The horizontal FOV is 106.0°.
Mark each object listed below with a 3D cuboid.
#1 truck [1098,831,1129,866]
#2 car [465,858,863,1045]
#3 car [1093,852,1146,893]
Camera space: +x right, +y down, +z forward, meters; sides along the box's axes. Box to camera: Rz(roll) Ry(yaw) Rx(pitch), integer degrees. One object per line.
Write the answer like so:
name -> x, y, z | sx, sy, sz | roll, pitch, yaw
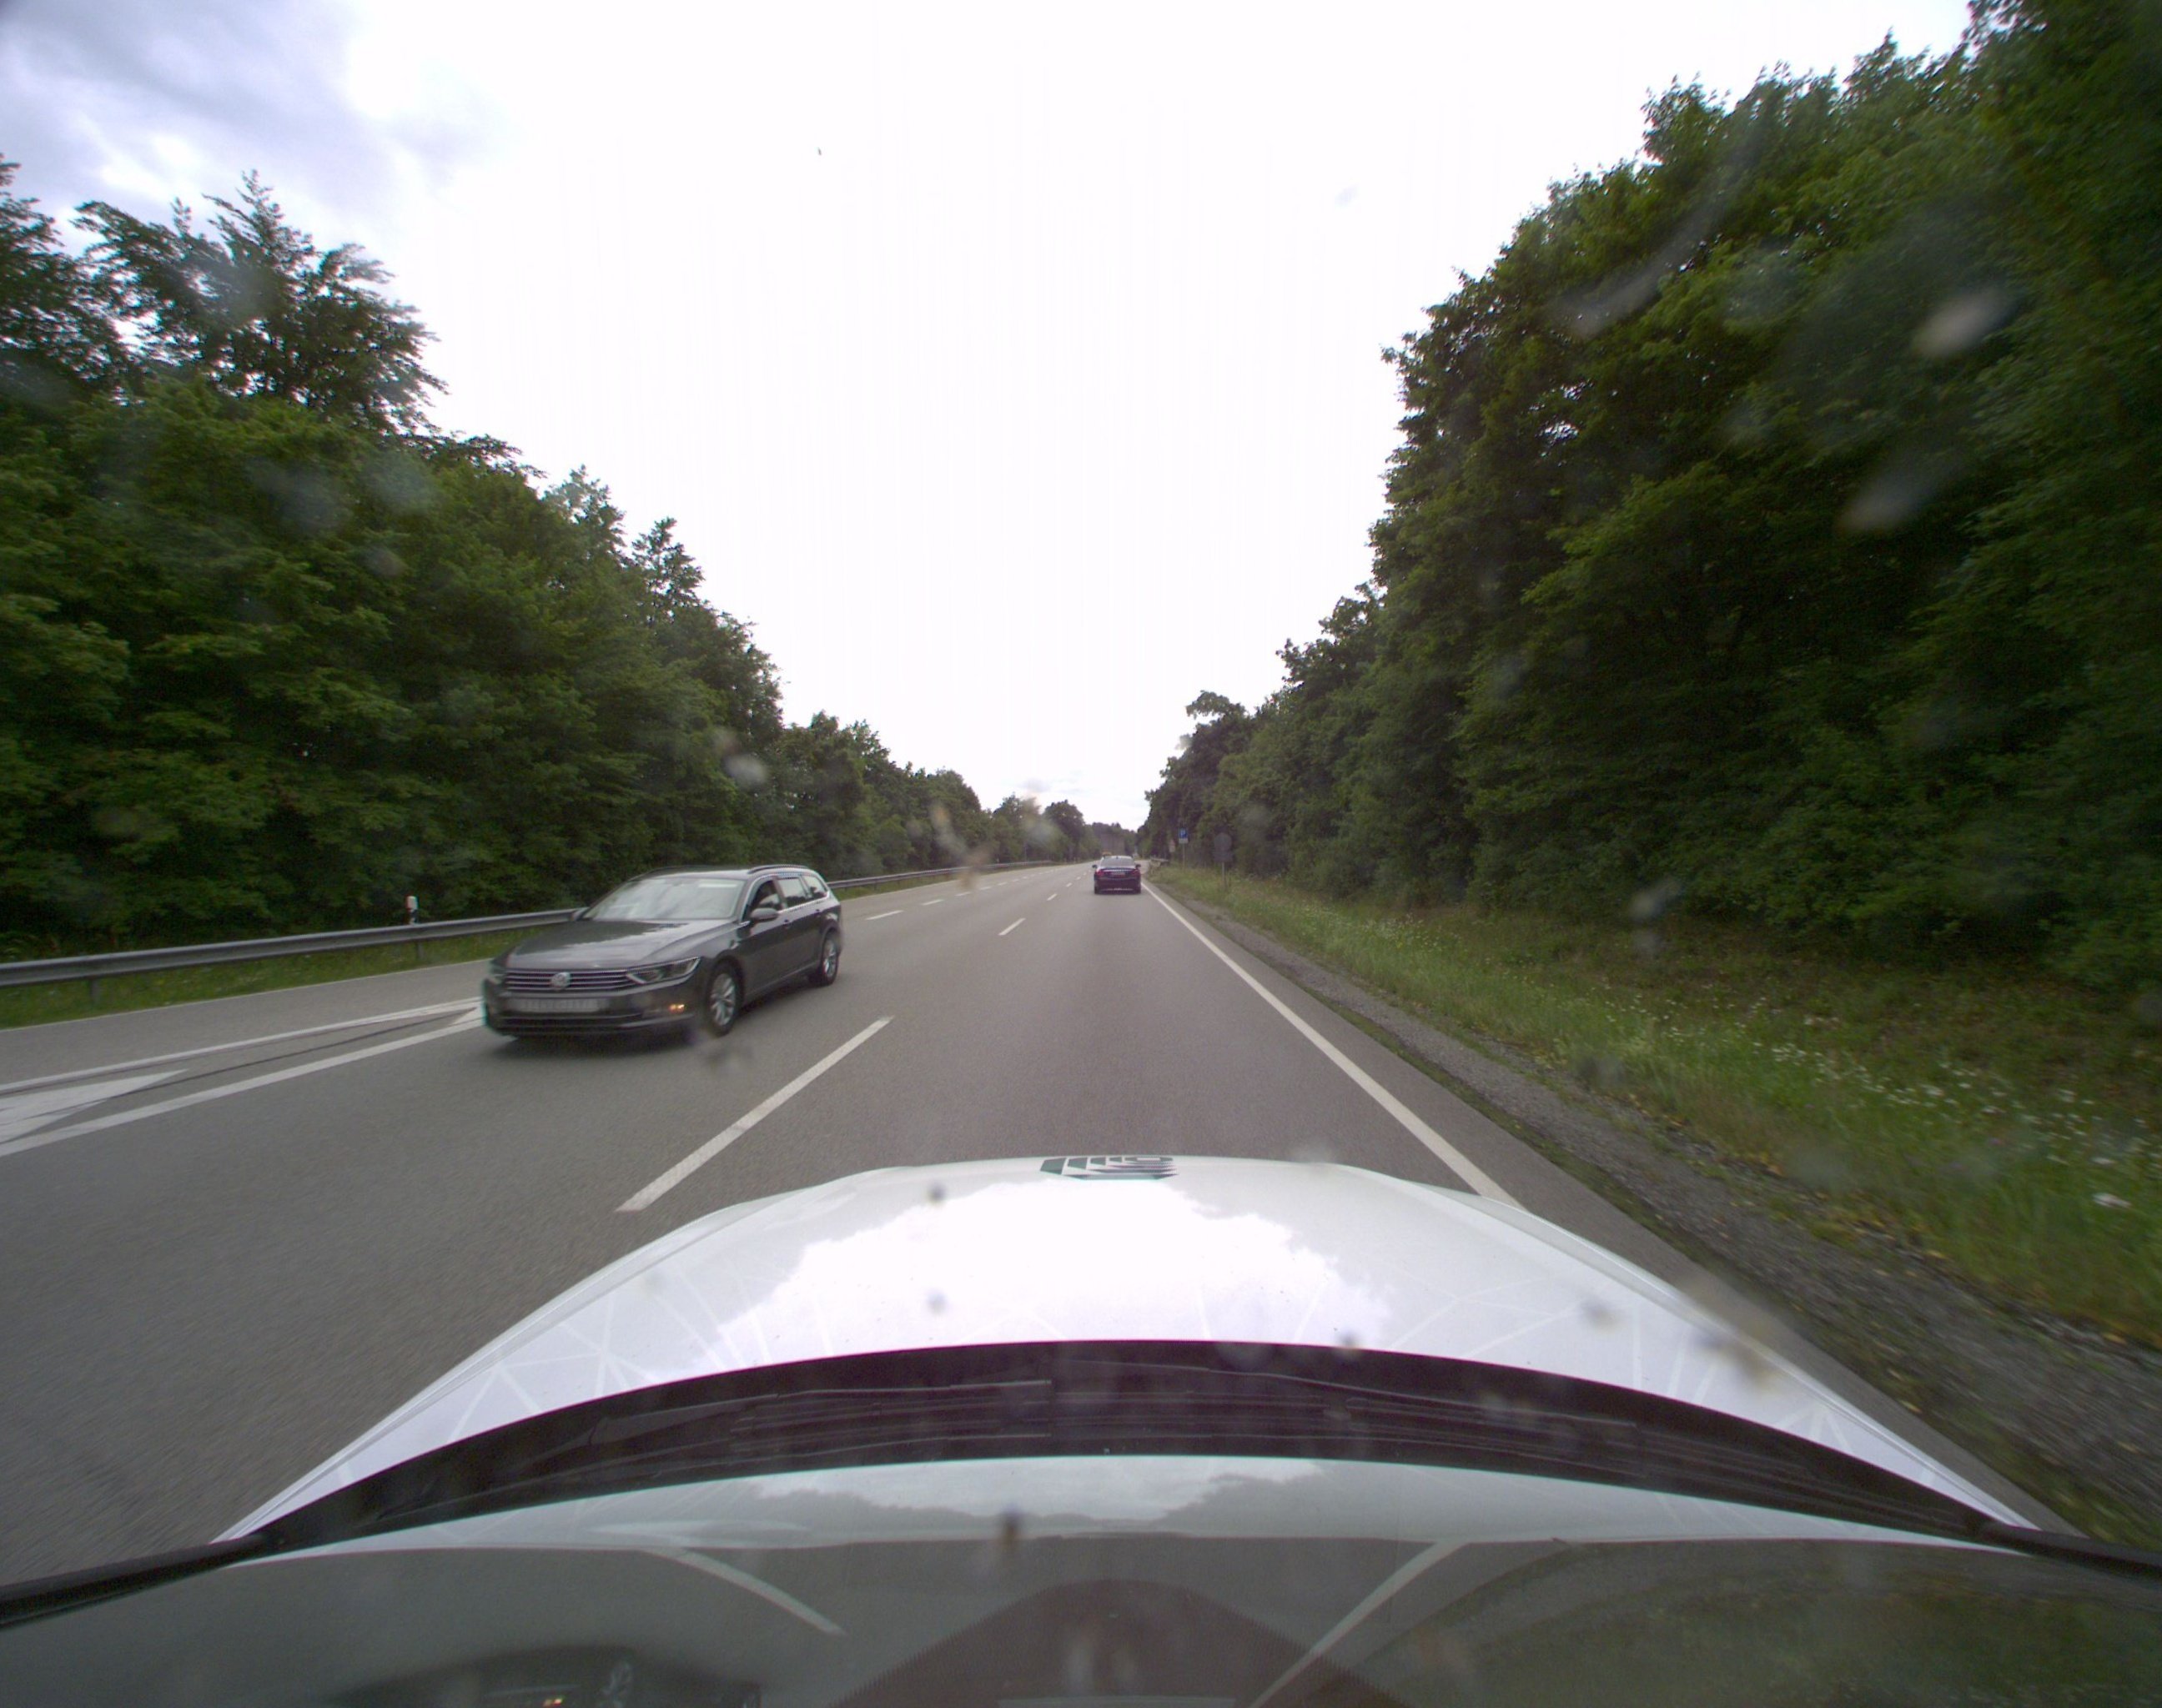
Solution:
truck -> 3.617, -0.550, 91.535 | 3.268, 3.611, 11.405 | -1, 0, 2
car -> -3.880, 0.782, 8.628 | 1.801, 1.442, 4.449 | -1, 0, 2
car -> 1.491, 0.706, 32.698 | 1.787, 1.552, 3.997 | -1, 0, -2
